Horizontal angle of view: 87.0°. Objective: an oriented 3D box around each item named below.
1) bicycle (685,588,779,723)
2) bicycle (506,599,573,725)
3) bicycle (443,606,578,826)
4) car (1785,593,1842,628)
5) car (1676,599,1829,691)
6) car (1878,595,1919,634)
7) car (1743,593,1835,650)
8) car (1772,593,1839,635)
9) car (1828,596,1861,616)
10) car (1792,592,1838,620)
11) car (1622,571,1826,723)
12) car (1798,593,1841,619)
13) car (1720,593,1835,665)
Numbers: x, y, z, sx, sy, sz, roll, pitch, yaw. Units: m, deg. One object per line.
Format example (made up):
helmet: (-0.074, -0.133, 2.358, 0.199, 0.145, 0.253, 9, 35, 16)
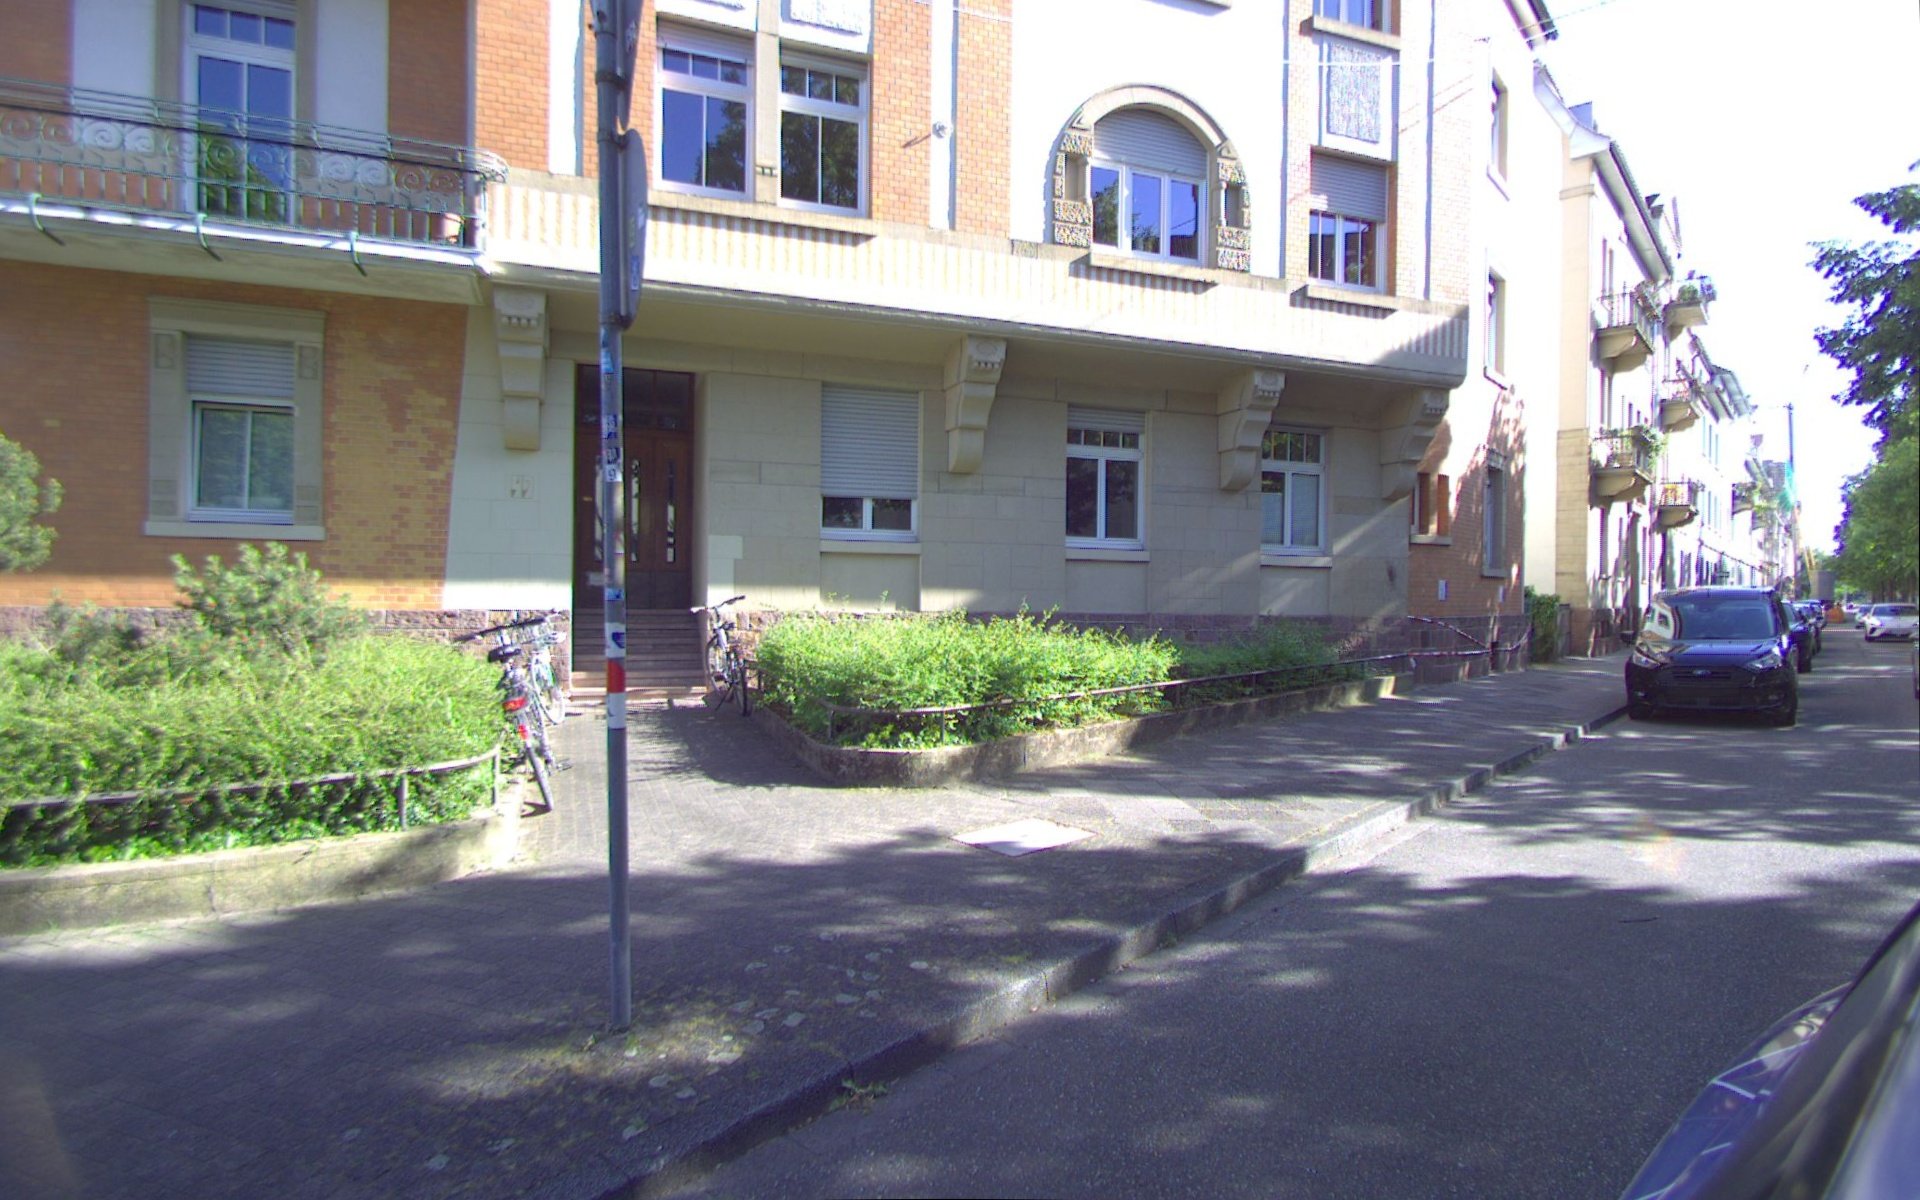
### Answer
bicycle: (-2.382, 0.512, 10.420, 0.583, 1.227, 1.804, 1, 1, -24)
bicycle: (-4.108, 0.559, 9.965, 0.489, 1.085, 1.678, 1, 1, -19)
bicycle: (-2.882, 0.639, 6.534, 0.674, 1.135, 1.947, 1, 1, -23)
car: (40.761, 0.516, 48.304, 1.792, 1.576, 4.142, -2, -2, 43)
car: (14.513, 0.757, 18.452, 1.792, 1.472, 4.142, -2, -2, 43)
car: (37.224, 0.539, 39.622, 1.792, 1.453, 4.142, 0, 0, 44)
car: (24.484, 0.615, 29.843, 1.792, 1.576, 4.142, -2, -2, 43)
car: (34.158, 0.563, 40.864, 1.792, 1.576, 4.142, -2, -2, 43)
car: (70.499, 0.494, 80.647, 1.792, 1.576, 4.142, -2, -2, 43)
car: (50.395, 0.363, 59.626, 1.792, 1.576, 4.142, -2, -2, 43)
car: (10.689, 0.581, 14.045, 1.792, 1.790, 4.142, -2, -2, 43)
car: (53.730, 0.400, 63.225, 1.792, 1.576, 4.142, -2, -2, 43)
car: (19.629, 0.658, 24.236, 1.792, 1.576, 4.142, -2, -2, 43)
